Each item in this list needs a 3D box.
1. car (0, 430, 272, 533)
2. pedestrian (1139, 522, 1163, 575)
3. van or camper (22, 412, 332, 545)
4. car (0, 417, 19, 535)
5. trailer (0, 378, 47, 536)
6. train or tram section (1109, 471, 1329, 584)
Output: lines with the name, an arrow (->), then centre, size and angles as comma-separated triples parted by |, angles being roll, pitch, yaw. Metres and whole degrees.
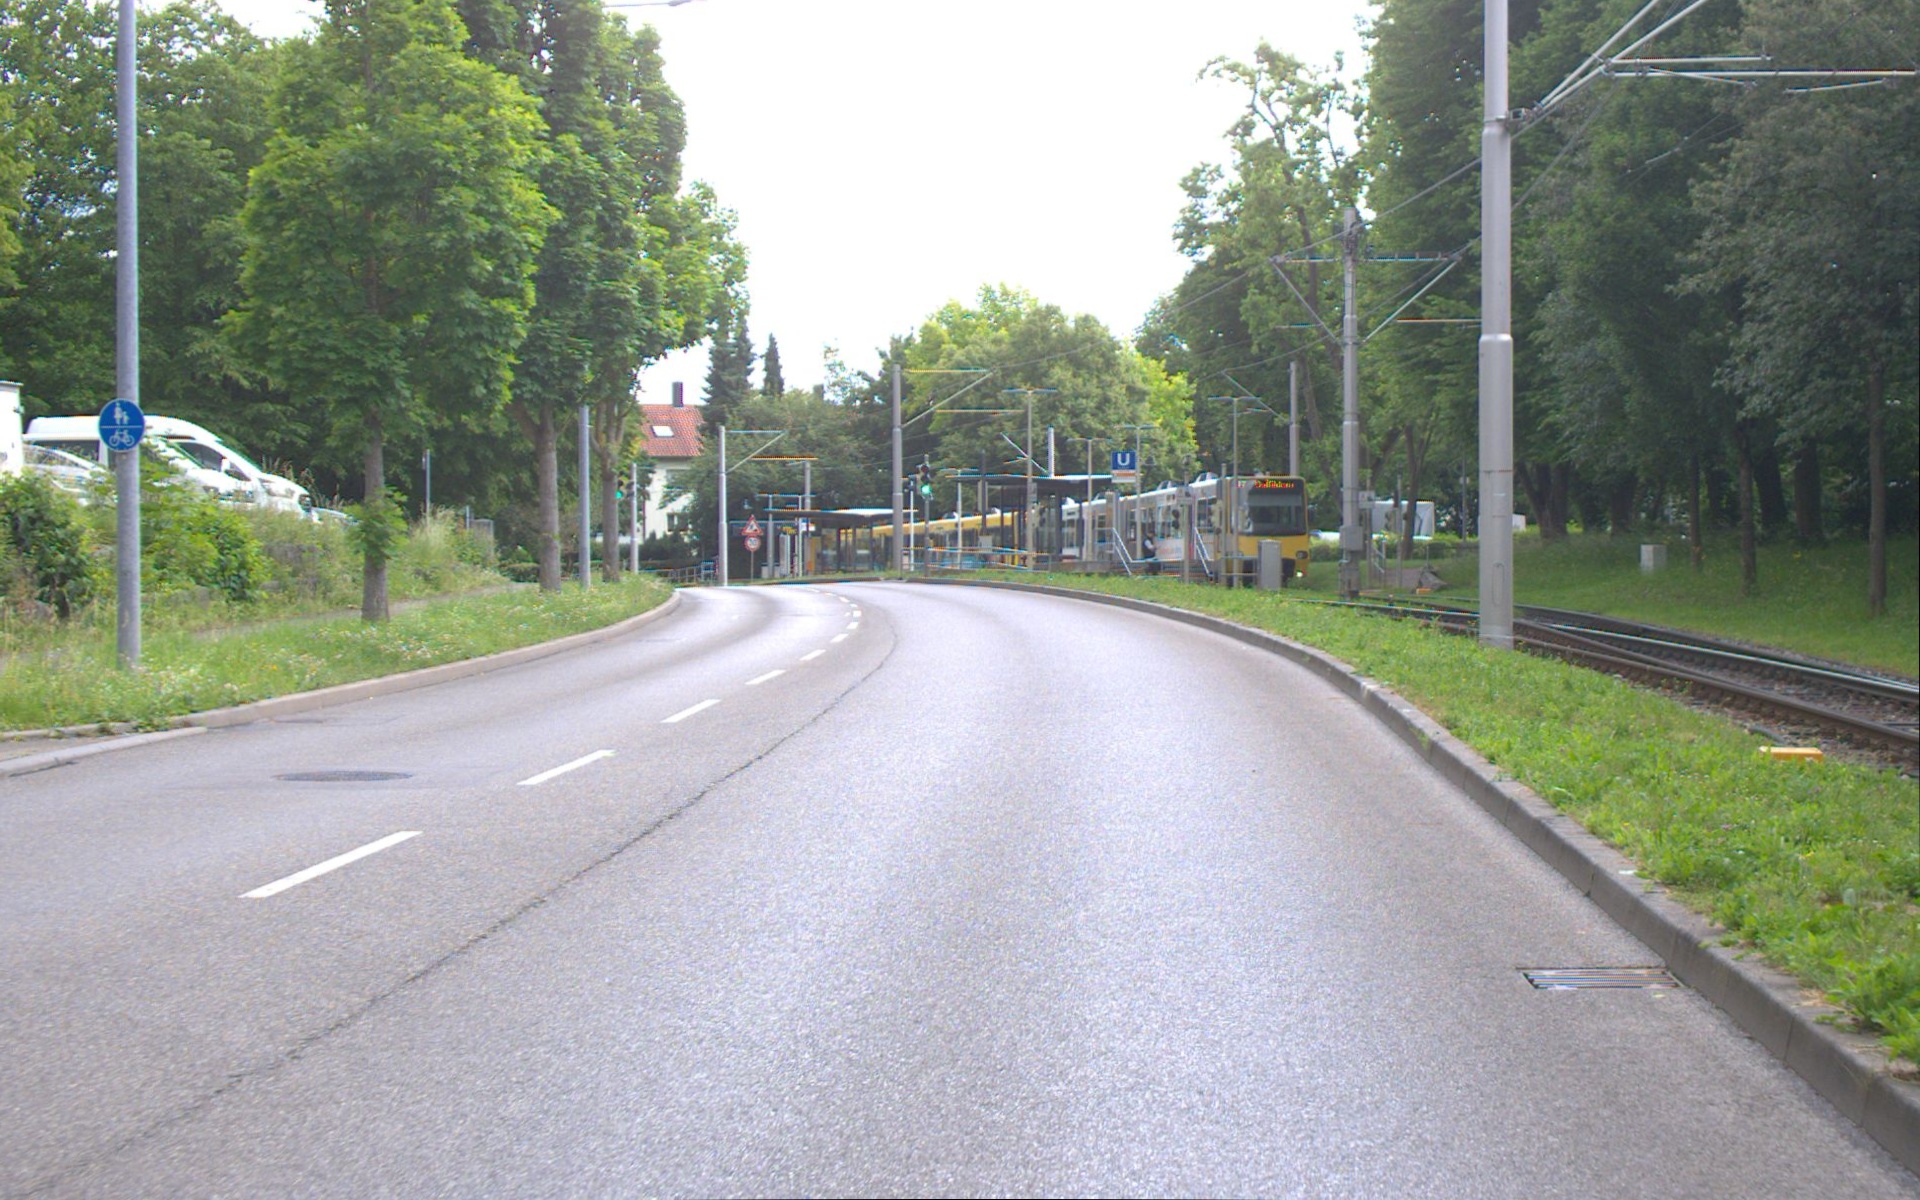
car -> -13.890, -1.941, 56.588 | 4.643, 1.650, 2.000 | 0, 1, 7
pedestrian -> 5.263, -1.430, 94.817 | 0.567, 1.459, 0.595 | 0, 1, -5
van or camper -> -13.419, -2.086, 59.116 | 4.891, 2.195, 2.000 | 0, 2, 0
car -> -13.804, -1.443, 41.653 | 4.311, 1.443, 1.836 | -2, 2, -4
trailer -> -14.139, -1.858, 44.692 | 3.987, 2.006, 1.908 | 0, 2, 3
train or tram section -> 8.392, -2.591, 118.628 | 3.007, 3.299, 34.717 | 0, 2, -3
